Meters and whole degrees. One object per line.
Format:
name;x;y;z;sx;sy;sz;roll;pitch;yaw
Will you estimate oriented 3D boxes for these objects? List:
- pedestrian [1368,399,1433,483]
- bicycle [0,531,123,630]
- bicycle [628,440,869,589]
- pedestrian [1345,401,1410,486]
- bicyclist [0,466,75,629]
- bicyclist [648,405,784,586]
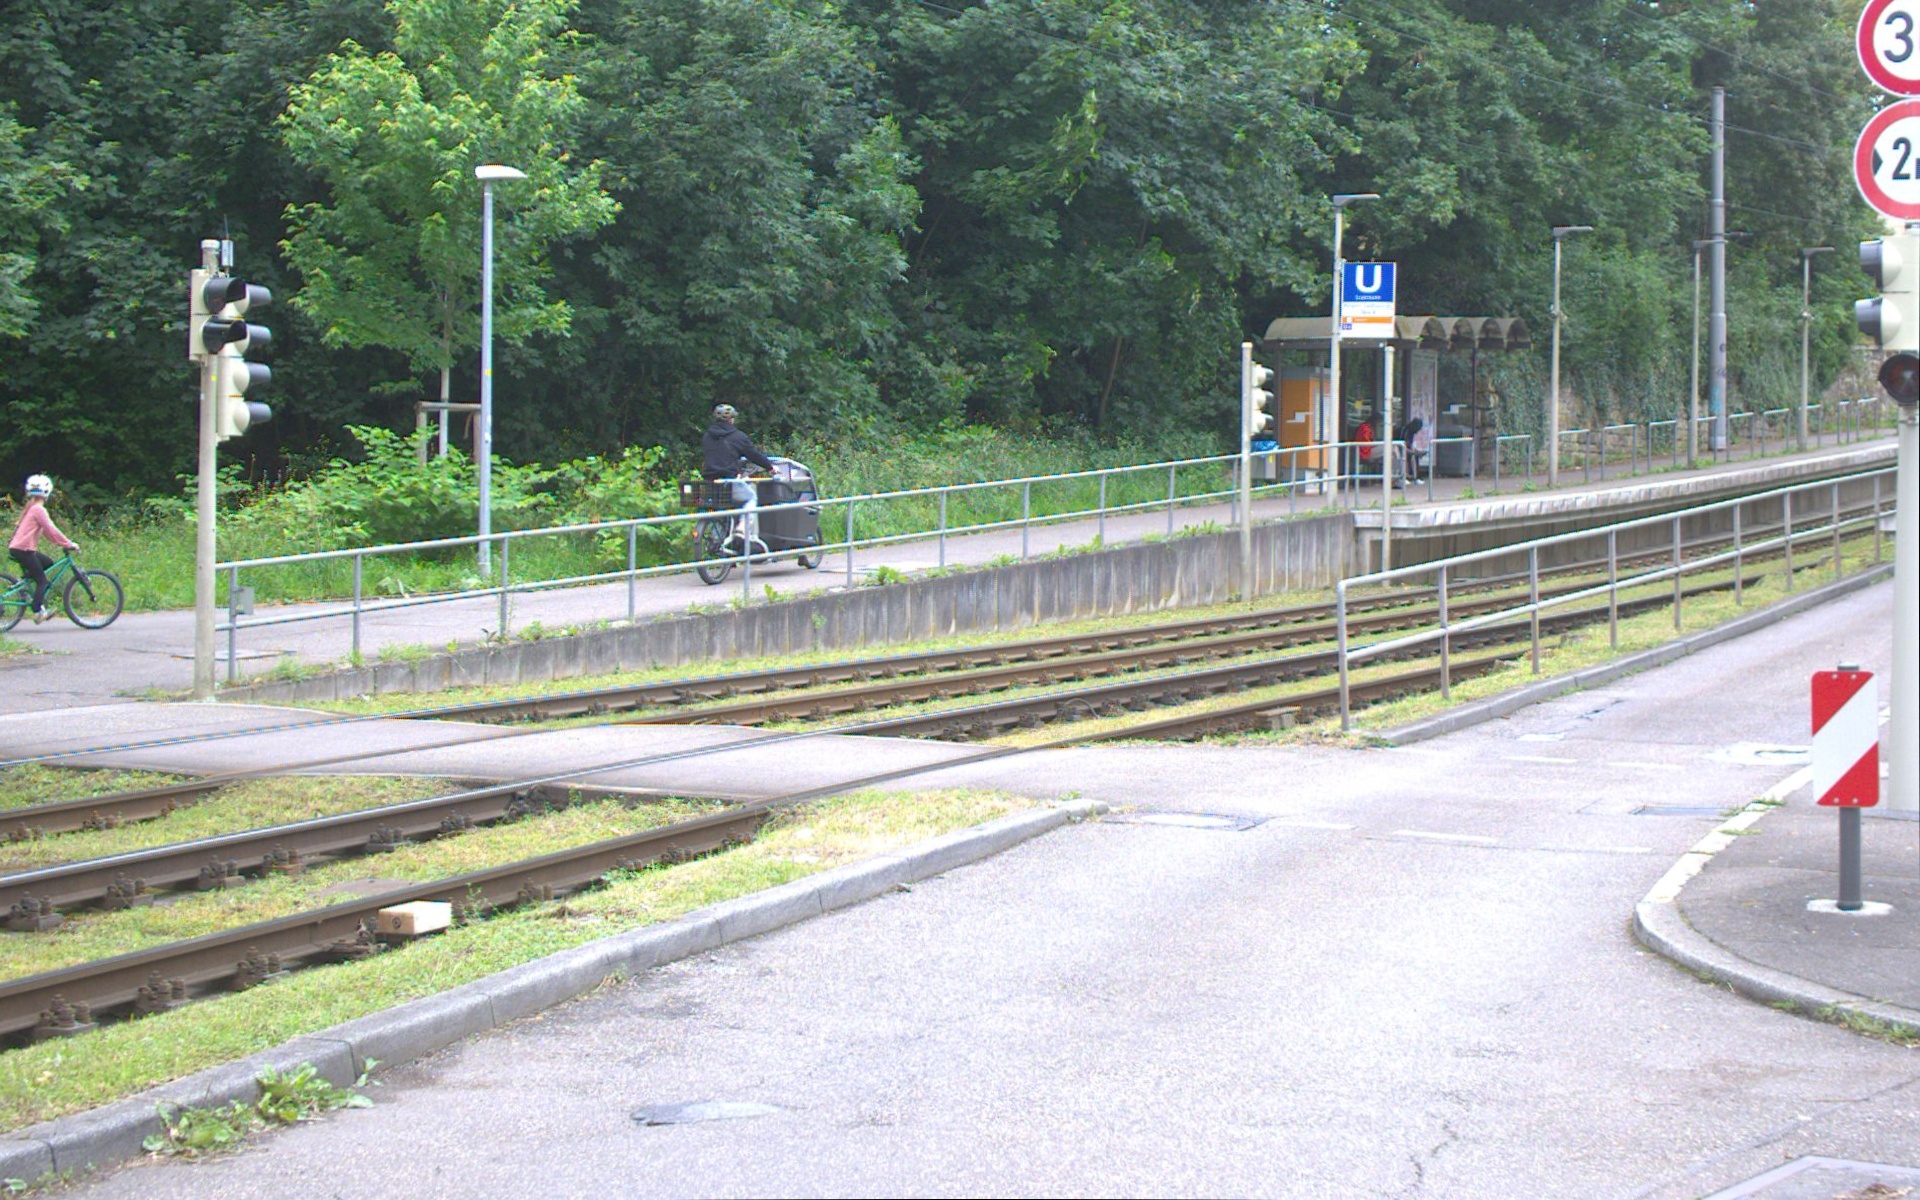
pedestrian;7.301;-2.628;56.970;0.773;1.321;0.786;5;3;26
bicycle;-7.775;-0.154;28.515;1.554;0.736;0.455;-3;8;-36
bicycle;-2.113;-0.902;34.994;0.734;1.284;3.342;5;7;29
pedestrian;6.795;-2.547;55.944;0.773;1.321;0.786;5;5;26
bicyclist;-7.711;-0.441;28.524;0.579;1.296;0.455;-3;8;-36
bicyclist;-2.435;-1.063;34.395;0.734;1.705;1.291;5;7;29
